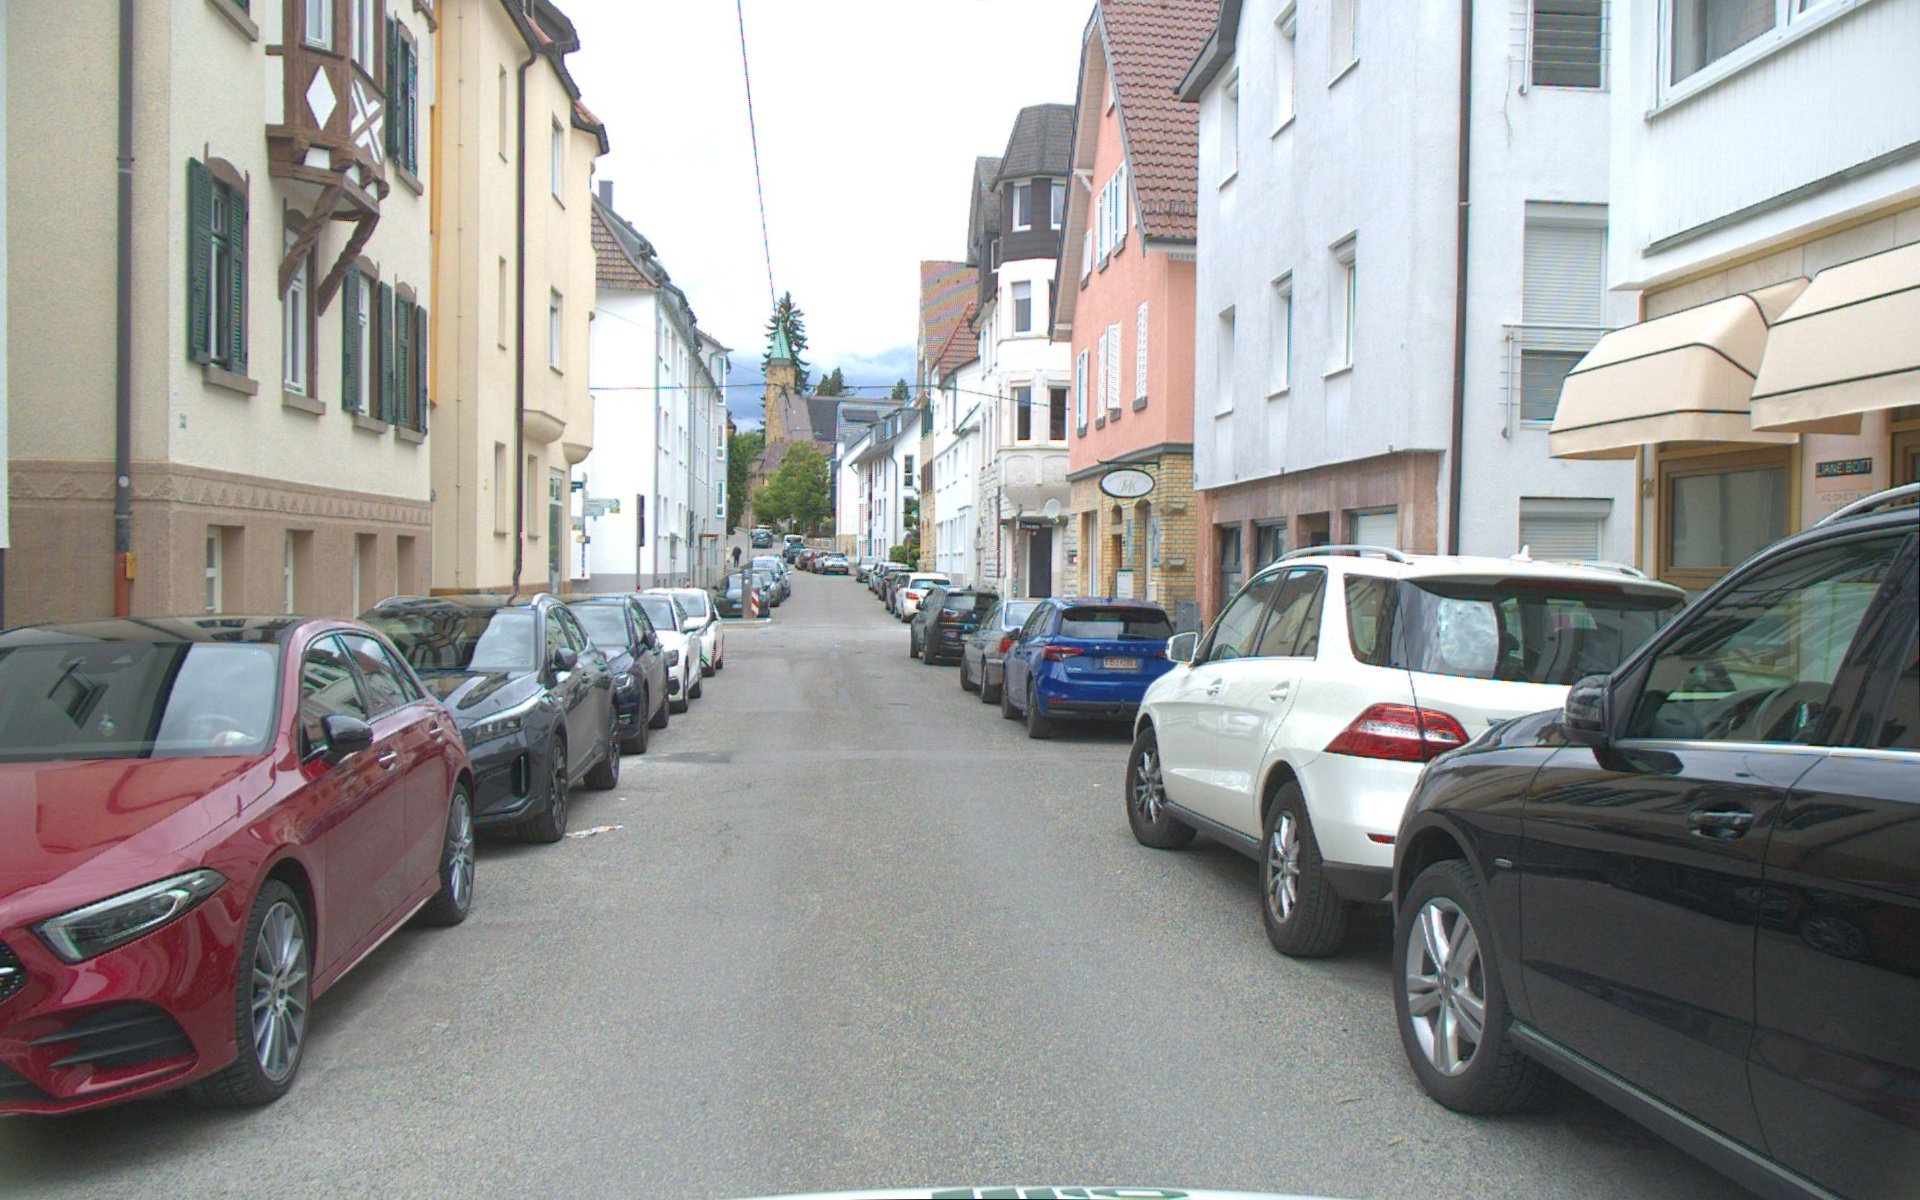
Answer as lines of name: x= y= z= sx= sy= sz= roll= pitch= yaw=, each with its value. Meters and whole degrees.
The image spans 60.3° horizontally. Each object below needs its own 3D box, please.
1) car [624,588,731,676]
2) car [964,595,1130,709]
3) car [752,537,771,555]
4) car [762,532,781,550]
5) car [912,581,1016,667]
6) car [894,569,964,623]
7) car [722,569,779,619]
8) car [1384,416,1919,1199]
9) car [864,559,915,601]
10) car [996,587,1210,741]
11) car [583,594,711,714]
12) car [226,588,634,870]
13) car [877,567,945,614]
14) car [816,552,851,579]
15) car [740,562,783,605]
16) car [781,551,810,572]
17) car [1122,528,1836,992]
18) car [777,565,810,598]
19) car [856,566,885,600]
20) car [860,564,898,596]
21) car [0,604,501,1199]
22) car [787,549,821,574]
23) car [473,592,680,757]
car: x=-4.888 y=0.520 z=28.969 sx=1.555 sy=1.447 sz=3.397 roll=0 pitch=0 yaw=-5
car: x=1.137 y=0.670 z=23.421 sx=1.715 sy=1.415 sz=4.026 roll=2 pitch=0 yaw=-6
car: x=-20.791 y=-5.621 z=172.962 sx=1.716 sy=1.713 sz=3.592 roll=3 pitch=1 yaw=-10
car: x=-21.595 y=-6.807 z=189.596 sx=1.788 sy=1.956 sz=3.742 roll=3 pitch=2 yaw=-10
car: x=0.029 y=0.450 z=34.169 sx=1.680 sy=1.576 sz=3.797 roll=3 pitch=0 yaw=-6
car: x=-1.046 y=-0.152 z=54.302 sx=1.733 sy=1.552 sz=3.895 roll=2 pitch=2 yaw=-9
car: x=-6.818 y=-0.221 z=54.097 sx=1.642 sy=1.490 sz=3.996 roll=3 pitch=1 yaw=-5
car: x=2.584 y=0.620 z=3.443 sx=1.903 sy=1.811 sz=4.364 roll=2 pitch=-1 yaw=-5
car: x=-3.012 y=-0.859 z=69.748 sx=1.696 sy=1.601 sz=3.827 roll=2 pitch=2 yaw=-9
car: x=1.477 y=0.639 z=18.385 sx=1.739 sy=1.501 sz=3.778 roll=1 pitch=0 yaw=-5
car: x=-3.969 y=0.625 z=21.370 sx=1.258 sy=1.382 sz=3.801 roll=0 pitch=1 yaw=-5
car: x=-3.349 y=0.709 z=11.244 sx=1.734 sy=1.521 sz=3.978 roll=-1 pitch=0 yaw=-5
car: x=-1.789 y=-0.359 z=59.624 sx=1.918 sy=1.602 sz=3.992 roll=2 pitch=1 yaw=-9
car: x=-8.572 y=-2.355 z=111.866 sx=1.729 sy=1.695 sz=3.987 roll=3 pitch=1 yaw=-14
car: x=-7.595 y=-0.651 z=63.426 sx=1.510 sy=1.541 sz=3.374 roll=3 pitch=1 yaw=-6
car: x=-13.888 y=-3.267 z=139.285 sx=1.857 sy=1.632 sz=3.702 roll=3 pitch=1 yaw=-14
car: x=2.215 y=0.593 z=8.483 sx=1.896 sy=1.742 sz=4.371 roll=1 pitch=1 yaw=-6
car: x=-8.099 y=-0.877 z=80.419 sx=1.510 sy=1.364 sz=3.280 roll=3 pitch=-3 yaw=-6
car: x=-5.069 y=-0.955 z=93.230 sx=1.547 sy=1.790 sz=3.207 roll=2 pitch=-1 yaw=-4
car: x=-3.690 y=-0.914 z=74.793 sx=1.382 sy=1.328 sz=2.897 roll=2 pitch=2 yaw=-9
car: x=-2.955 y=0.760 z=6.030 sx=1.734 sy=1.442 sz=4.167 roll=-1 pitch=0 yaw=-5
car: x=-11.593 y=-2.887 z=122.710 sx=1.857 sy=1.674 sz=3.961 roll=3 pitch=2 yaw=-14
car: x=-3.753 y=0.652 z=16.736 sx=1.575 sy=1.449 sz=3.849 roll=0 pitch=0 yaw=-6
